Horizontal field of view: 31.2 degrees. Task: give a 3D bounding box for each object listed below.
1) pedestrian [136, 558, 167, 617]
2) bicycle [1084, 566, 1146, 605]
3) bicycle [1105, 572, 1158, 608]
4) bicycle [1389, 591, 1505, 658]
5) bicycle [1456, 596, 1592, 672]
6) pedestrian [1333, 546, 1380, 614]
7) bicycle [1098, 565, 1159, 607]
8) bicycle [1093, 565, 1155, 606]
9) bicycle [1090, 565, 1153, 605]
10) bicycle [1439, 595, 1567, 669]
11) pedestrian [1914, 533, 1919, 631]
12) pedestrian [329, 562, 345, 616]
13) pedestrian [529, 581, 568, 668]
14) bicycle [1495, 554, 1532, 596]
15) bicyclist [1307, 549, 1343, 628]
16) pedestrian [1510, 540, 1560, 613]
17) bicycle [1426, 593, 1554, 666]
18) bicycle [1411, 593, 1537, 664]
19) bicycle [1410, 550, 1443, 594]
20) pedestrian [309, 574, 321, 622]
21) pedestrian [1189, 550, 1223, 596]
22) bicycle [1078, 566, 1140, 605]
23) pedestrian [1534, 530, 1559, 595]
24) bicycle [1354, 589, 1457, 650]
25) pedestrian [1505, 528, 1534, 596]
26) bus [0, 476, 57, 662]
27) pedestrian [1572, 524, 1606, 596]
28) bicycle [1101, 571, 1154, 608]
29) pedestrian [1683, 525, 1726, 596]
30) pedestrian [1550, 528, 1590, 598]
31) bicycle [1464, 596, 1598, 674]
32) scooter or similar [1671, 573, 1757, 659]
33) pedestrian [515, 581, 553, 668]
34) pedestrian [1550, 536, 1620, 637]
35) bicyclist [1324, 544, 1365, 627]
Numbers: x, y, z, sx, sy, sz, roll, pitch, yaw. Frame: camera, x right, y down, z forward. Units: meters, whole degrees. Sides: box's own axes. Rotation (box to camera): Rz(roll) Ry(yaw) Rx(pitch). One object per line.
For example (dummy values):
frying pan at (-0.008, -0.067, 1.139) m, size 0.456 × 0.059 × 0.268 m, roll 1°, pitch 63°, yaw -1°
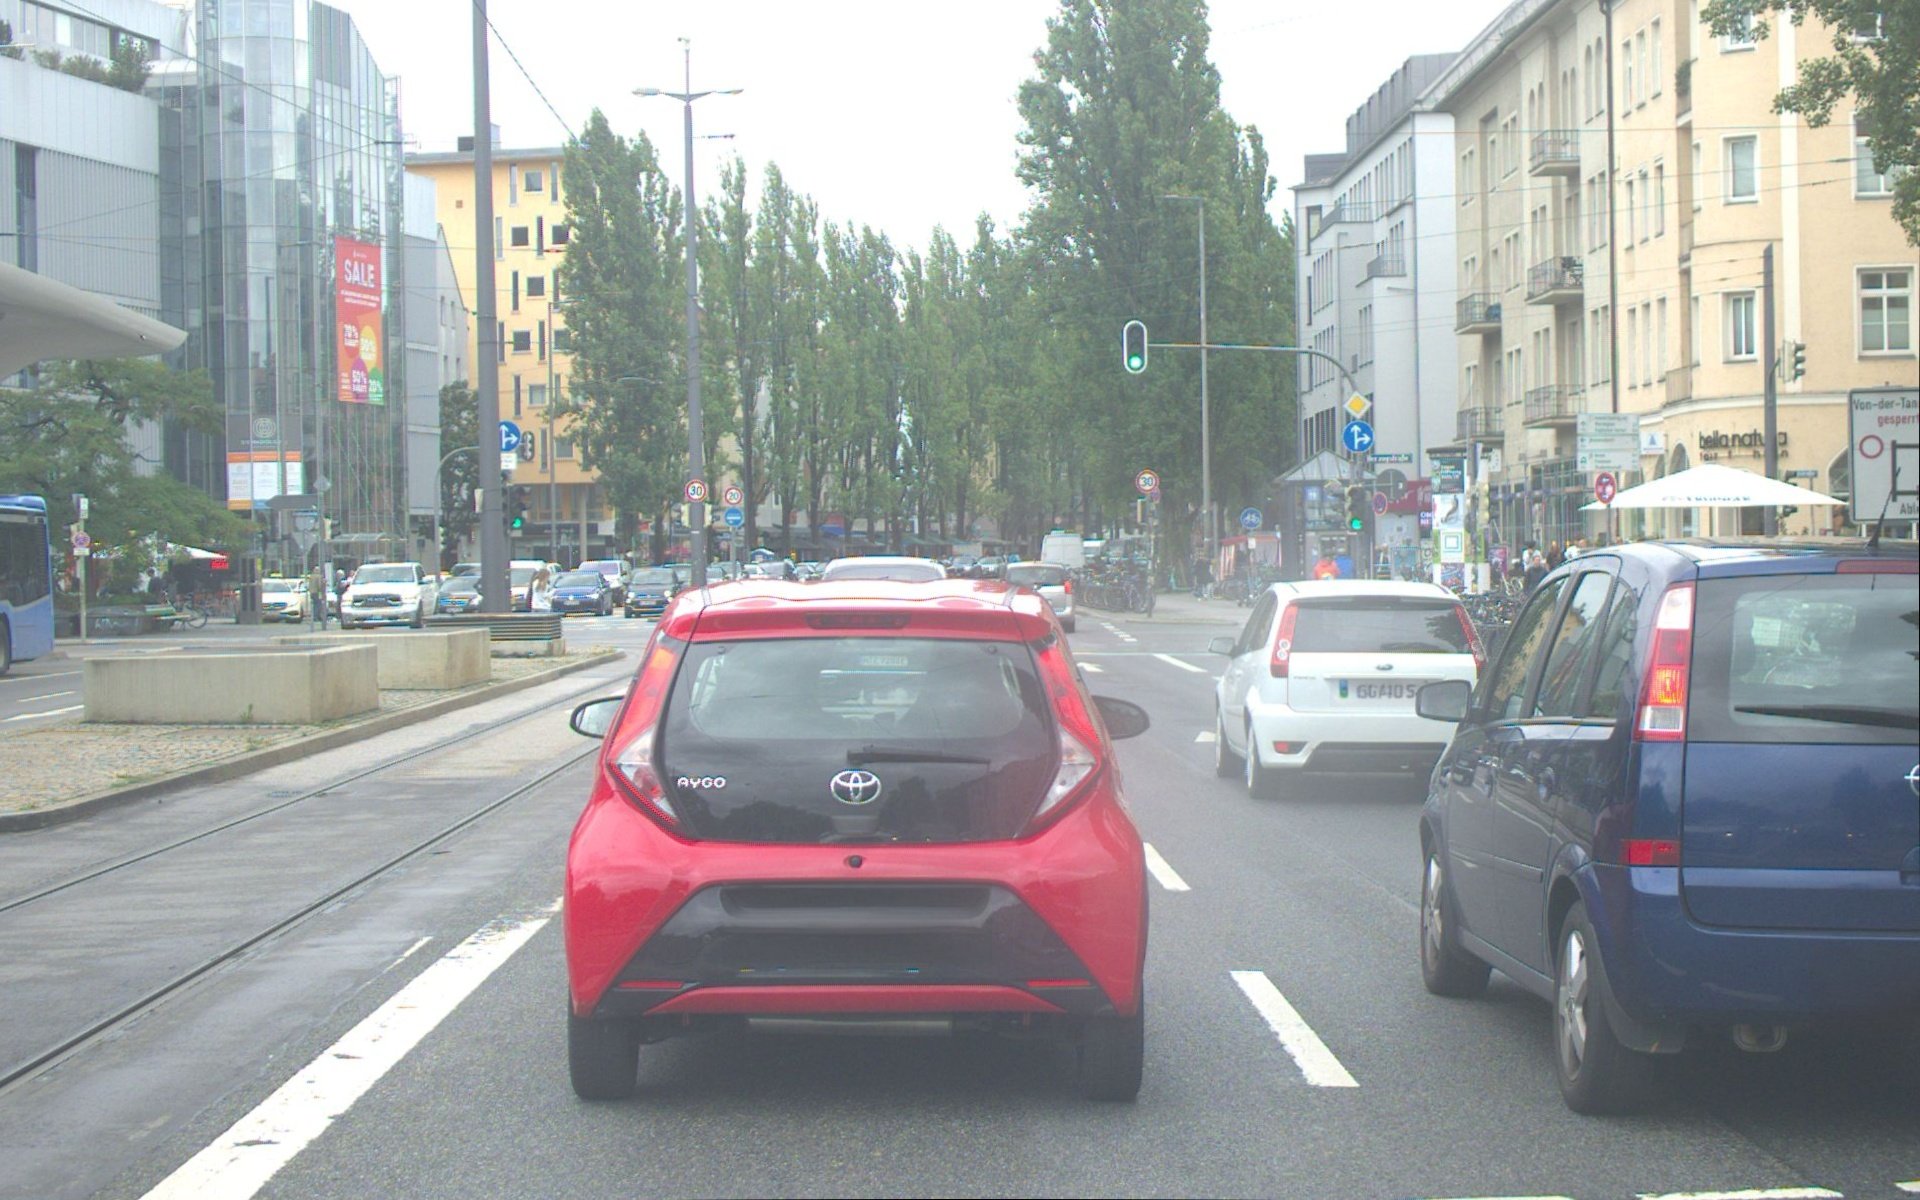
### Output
pedestrian at (-24.556, -0.379, 104.364) m, size 0.749 × 1.767 × 0.773 m, roll -1°, pitch 1°, yaw -24°
bicycle at (4.636, -0.439, 102.943) m, size 1.802 × 1.154 × 0.486 m, roll 0°, pitch 1°, yaw 30°
bicycle at (4.851, -0.284, 97.227) m, size 0.498 × 1.025 × 1.601 m, roll -2°, pitch 1°, yaw -42°
bicycle at (7.372, 0.373, 52.087) m, size 1.840 × 0.992 × 0.347 m, roll -1°, pitch 1°, yaw 43°
bicycle at (7.513, 0.459, 45.872) m, size 1.840 × 0.992 × 0.347 m, roll -1°, pitch 0°, yaw 40°
pedestrian at (9.945, -0.497, 86.248) m, size 0.836 × 1.685 × 0.818 m, roll -1°, pitch 1°, yaw 37°
bicycle at (4.841, -0.397, 98.742) m, size 1.803 × 1.194 × 0.558 m, roll 0°, pitch 1°, yaw 43°
bicycle at (4.772, -0.421, 100.135) m, size 1.803 × 1.154 × 0.547 m, roll 0°, pitch 1°, yaw 38°
bicycle at (4.774, -0.440, 101.627) m, size 1.801 × 1.154 × 0.486 m, roll 0°, pitch 1°, yaw 26°
bicycle at (7.455, 0.439, 47.278) m, size 1.840 × 0.992 × 0.347 m, roll -1°, pitch 1°, yaw 43°
pedestrian at (16.218, -0.299, 56.966) m, size 0.614 × 1.627 × 0.678 m, roll -1°, pitch 1°, yaw 0°
pedestrian at (-20.303, -0.361, 112.069) m, size 0.445 × 1.754 × 0.356 m, roll -1°, pitch 1°, yaw -4°
pedestrian at (-7.676, 0.456, 64.172) m, size 0.521 × 1.613 × 0.463 m, roll 0°, pitch 1°, yaw 43°
bicycle at (14.258, -0.648, 88.615) m, size 0.494 × 1.055 × 1.867 m, roll -1°, pitch 1°, yaw -5°
bicyclist at (7.831, -0.250, 73.727) m, size 0.614 × 1.652 × 1.251 m, roll -1°, pitch 1°, yaw 0°
pedestrian at (12.356, -0.505, 73.929) m, size 0.729 × 1.535 × 0.891 m, roll -1°, pitch 1°, yaw -15°
bicycle at (7.481, 0.422, 48.589) m, size 1.840 × 0.992 × 0.347 m, roll -1°, pitch 0°, yaw 39°
bicycle at (7.375, 0.409, 49.396) m, size 1.840 × 0.992 × 0.347 m, roll -1°, pitch 0°, yaw 39°
bicycle at (12.006, -0.731, 88.432) m, size 0.566 × 1.104 × 1.866 m, roll -1°, pitch 1°, yaw 0°
pedestrian at (-21.032, -0.074, 112.069) m, size 0.353 × 1.562 × 0.270 m, roll -1°, pitch 1°, yaw -12°
pedestrian at (8.205, -0.915, 114.783) m, size 0.810 × 1.517 × 0.798 m, roll 0°, pitch 1°, yaw 36°
bicycle at (4.517, -0.449, 104.321) m, size 1.803 × 1.154 × 0.651 m, roll 0°, pitch 1°, yaw 36°
pedestrian at (14.775, -0.955, 86.631) m, size 0.561 × 1.604 × 0.567 m, roll -1°, pitch 4°, yaw 13°
bicycle at (7.405, 0.332, 57.216) m, size 1.841 × 0.992 × 0.347 m, roll -1°, pitch 1°, yaw 44°
pedestrian at (14.080, -0.964, 86.495) m, size 0.566 × 1.665 × 0.562 m, roll 0°, pitch 4°, yaw 22°
bus at (-16.833, -0.440, 55.199) m, size 2.660 × 2.997 × 7.514 m, roll -3°, pitch 1°, yaw -1°
pedestrian at (15.671, -1.001, 85.649) m, size 0.648 × 1.745 × 0.637 m, roll -2°, pitch 4°, yaw -9°
bicycle at (4.767, -0.299, 98.083) m, size 0.498 × 1.025 × 1.601 m, roll -2°, pitch 1°, yaw -42°
pedestrian at (18.200, -0.971, 84.028) m, size 0.744 × 1.679 × 0.683 m, roll -4°, pitch 4°, yaw -30°
pedestrian at (15.353, -0.942, 86.570) m, size 0.644 × 1.699 × 0.733 m, roll -4°, pitch 4°, yaw -30°
bicycle at (7.496, 0.468, 45.206) m, size 1.841 × 0.992 × 0.347 m, roll -1°, pitch 1°, yaw 44°
scooter or similar at (9.755, 0.198, 44.524) m, size 0.775 × 1.071 × 1.256 m, roll -1°, pitch 1°, yaw -2°
pedestrian at (-7.981, 0.448, 64.438) m, size 0.486 × 1.613 × 0.558 m, roll -1°, pitch 1°, yaw -35°
pedestrian at (10.961, -0.242, 60.284) m, size 0.881 × 1.737 × 0.858 m, roll -1°, pitch 1°, yaw -17°
bicyclist at (8.725, -0.338, 77.993) m, size 0.762 × 1.863 × 1.133 m, roll -1°, pitch 1°, yaw 0°
